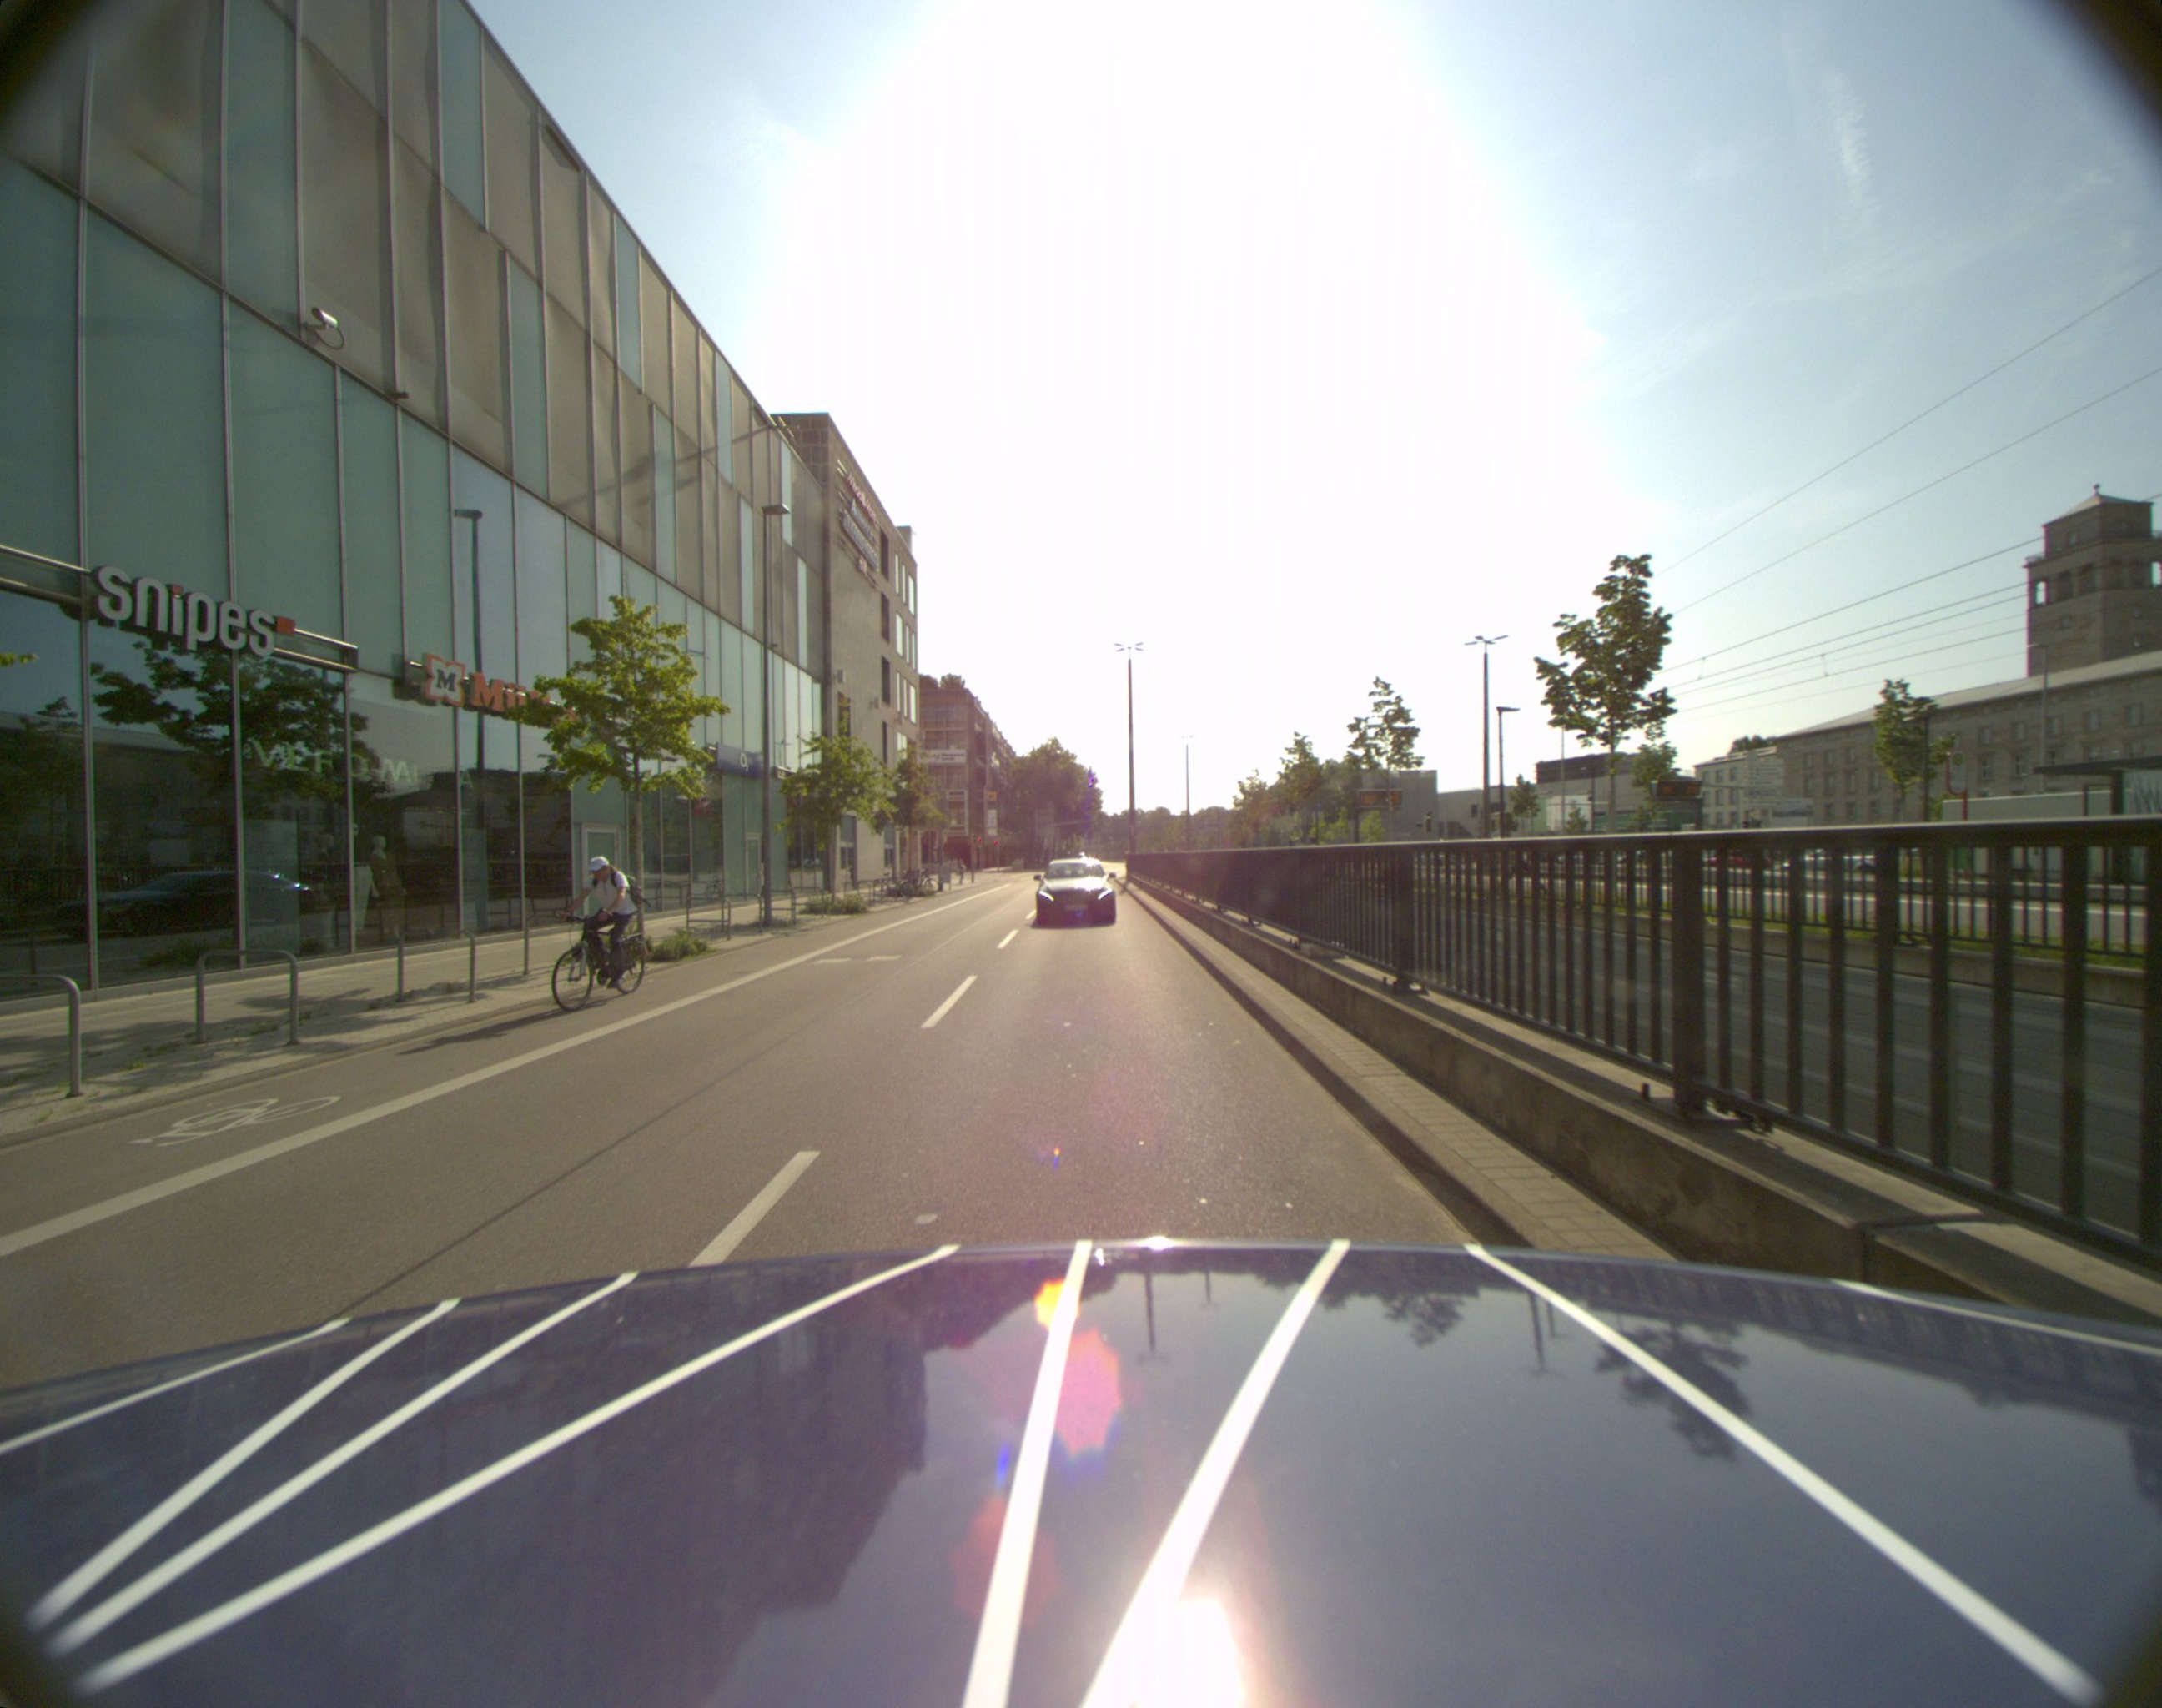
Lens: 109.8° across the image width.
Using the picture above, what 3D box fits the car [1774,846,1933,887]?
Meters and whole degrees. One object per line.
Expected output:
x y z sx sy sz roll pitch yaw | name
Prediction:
29.671 0.467 29.397 1.647 1.461 4.403 -1 0 0 | car

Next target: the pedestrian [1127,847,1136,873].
3.191 0.395 48.237 0.468 1.640 0.777 -1 0 1 | pedestrian

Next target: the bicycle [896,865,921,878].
-13.119 1.330 57.785 1.806 1.011 0.612 -1 0 1 | bicycle

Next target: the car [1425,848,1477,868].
30.794 0.289 63.397 1.797 1.572 4.614 -1 0 -5 | car

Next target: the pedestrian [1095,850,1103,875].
1.169 0.538 50.012 0.468 1.640 0.777 -1 0 1 | pedestrian

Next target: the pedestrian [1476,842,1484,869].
24.772 0.095 47.175 0.371 1.666 0.641 0 1 17 | pedestrian

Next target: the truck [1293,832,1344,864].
27.924 -0.681 89.779 3.029 3.565 8.890 -1 0 -1 | truck

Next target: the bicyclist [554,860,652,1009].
-5.805 0.948 9.263 0.652 1.738 0.769 -1 0 3 | bicyclist

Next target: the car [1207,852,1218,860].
27.922 0.455 161.477 1.644 1.592 3.999 -1 0 -1 | car

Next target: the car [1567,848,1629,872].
32.706 0.381 48.173 1.600 1.455 3.434 -1 0 1 | car

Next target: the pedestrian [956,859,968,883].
-7.390 1.054 47.284 0.710 1.478 0.604 -1 0 -6 | pedestrian

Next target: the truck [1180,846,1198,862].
27.144 -0.058 190.813 2.979 3.787 10.422 -1 0 0 | truck

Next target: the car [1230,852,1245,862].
27.889 0.536 135.263 1.620 1.778 4.518 -1 0 0 | car

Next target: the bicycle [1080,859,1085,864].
0.278 1.265 128.743 0.630 0.702 1.808 -1 0 -8 | bicycle

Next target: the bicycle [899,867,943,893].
-7.382 1.192 35.148 1.843 1.106 0.687 -2 0 3 | bicycle

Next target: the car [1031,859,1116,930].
-0.045 0.885 18.765 1.716 1.429 5.058 -2 0 3 | car

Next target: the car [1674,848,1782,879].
29.949 0.421 35.328 1.725 1.353 3.697 -1 0 -3 | car

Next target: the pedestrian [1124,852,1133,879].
2.970 0.705 47.226 0.468 1.640 0.777 -1 0 1 | pedestrian

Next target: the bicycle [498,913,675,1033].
-5.808 1.347 9.104 0.662 1.111 2.051 -1 0 3 | bicycle

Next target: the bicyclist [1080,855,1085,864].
0.286 0.852 128.922 0.612 1.504 0.813 -1 0 -9 | bicyclist

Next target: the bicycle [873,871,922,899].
-7.480 1.268 30.971 1.882 1.103 0.490 -1 0 3 | bicycle

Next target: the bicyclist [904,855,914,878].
-13.075 0.961 57.791 0.636 1.727 0.582 -1 0 1 | bicyclist

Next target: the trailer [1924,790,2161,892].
29.861 -0.388 23.460 2.050 2.764 5.021 -3 0 0 | trailer
